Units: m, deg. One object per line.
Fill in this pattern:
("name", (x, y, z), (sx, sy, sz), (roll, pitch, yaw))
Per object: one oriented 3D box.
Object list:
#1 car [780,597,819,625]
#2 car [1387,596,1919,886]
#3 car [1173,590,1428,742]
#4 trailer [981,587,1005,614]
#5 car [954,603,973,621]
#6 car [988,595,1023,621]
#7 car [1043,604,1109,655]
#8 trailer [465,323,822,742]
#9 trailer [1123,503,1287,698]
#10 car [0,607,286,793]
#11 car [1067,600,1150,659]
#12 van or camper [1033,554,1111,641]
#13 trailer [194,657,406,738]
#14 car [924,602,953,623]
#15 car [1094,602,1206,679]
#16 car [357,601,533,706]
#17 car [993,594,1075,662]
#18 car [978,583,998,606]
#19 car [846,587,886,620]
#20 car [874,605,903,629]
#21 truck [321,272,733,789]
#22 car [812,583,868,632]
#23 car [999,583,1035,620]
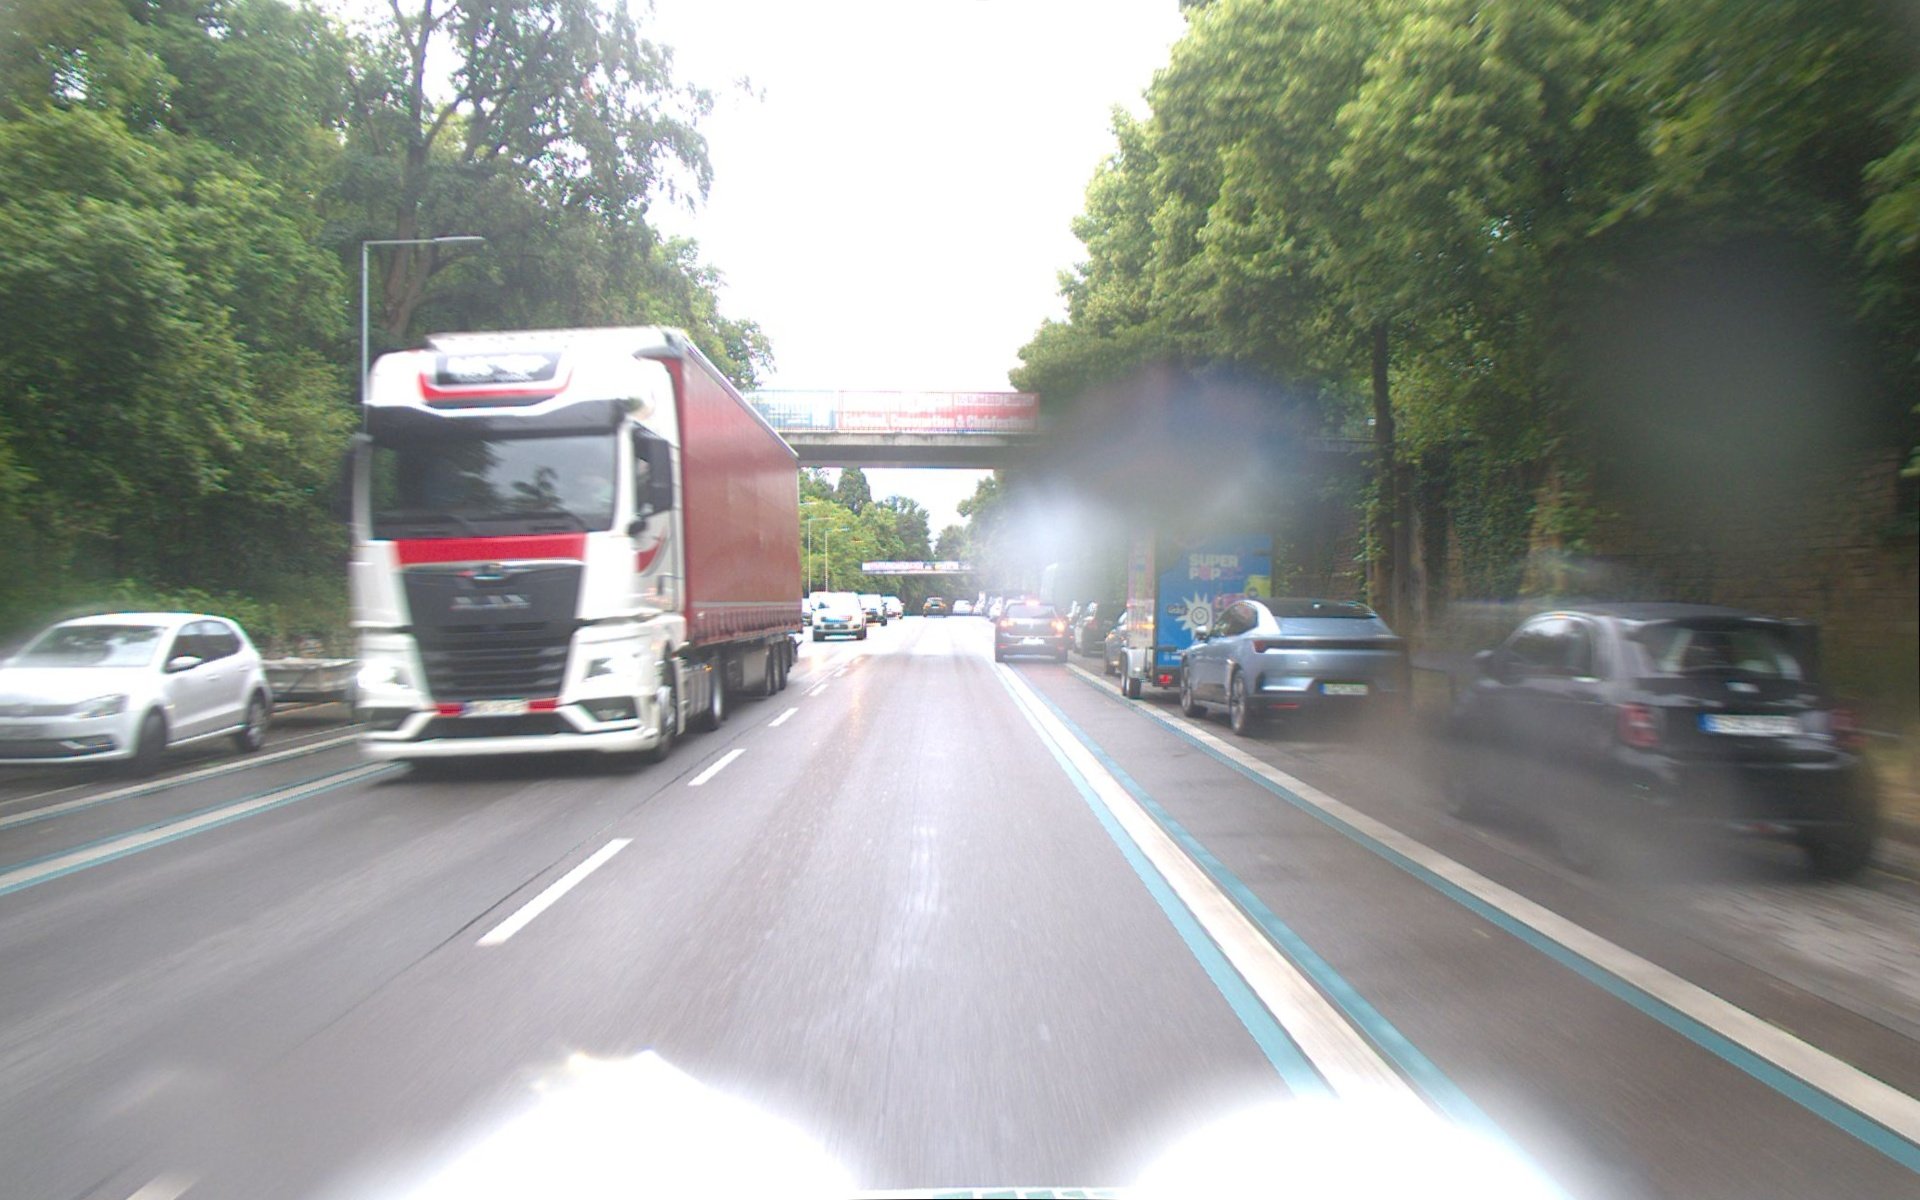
("car", (-9.085, 0.591, 94.127), (2.036, 1.508, 4.670), (-1, 1, -4))
("car", (4.403, 0.747, 11.149), (1.788, 1.529, 4.570), (0, 0, -1))
("car", (3.959, 0.696, 20.095), (1.861, 1.574, 4.752), (1, 0, -3))
("trailer", (2.771, 0.072, 139.536), (1.845, 2.204, 3.807), (-1, 0, 0))
("car", (0.303, 1.152, 156.690), (1.696, 1.611, 4.035), (-1, 0, -1))
("car", (2.761, 0.486, 101.268), (1.753, 1.570, 4.887), (1, 0, -3))
("car", (3.460, 0.852, 49.713), (1.651, 1.441, 4.099), (0, 0, -1))
("trailer", (-3.894, -0.745, 23.971), (2.633, 4.333, 12.767), (-3, 0, 0))
("trailer", (3.729, -0.003, 25.857), (1.913, 2.807, 4.006), (0, 0, -1))
("car", (-8.220, 0.876, 16.186), (1.753, 1.508, 3.980), (-1, 1, -3))
("car", (3.901, 0.741, 44.026), (1.652, 1.441, 4.195), (-1, 0, -2))
("van or camper", (3.758, -0.086, 56.863), (2.001, 2.777, 6.898), (1, 0, -2))
("trailer", (-8.422, 1.219, 21.379), (1.512, 0.833, 3.303), (0, 0, -2))
("car", (-1.686, 0.949, 127.598), (2.097, 1.518, 4.496), (0, 0, -3))
("car", (3.665, 0.753, 32.479), (1.553, 1.376, 3.860), (1, 0, -3))
("car", (-8.228, 0.801, 26.775), (1.795, 1.502, 4.038), (-1, 1, -4))
("car", (1.724, 0.625, 39.651), (1.781, 1.534, 4.139), (0, 0, 0))
("car", (2.611, -0.500, 156.239), (1.850, 2.164, 4.045), (0, 0, 0))
("car", (-4.965, 0.170, 87.663), (1.926, 1.656, 4.319), (-1, 0, -2))
("car", (-5.017, 1.185, 116.079), (1.882, 1.588, 4.620), (1, 0, -1))
("truck", (-3.876, -0.578, 15.974), (2.466, 4.117, 4.917), (-2, 0, 1))
("car", (-4.252, 0.246, 59.168), (1.797, 1.695, 4.179), (0, 0, -1))
("car", (3.274, 0.080, 96.371), (1.887, 2.057, 4.663), (0, 0, -1))
